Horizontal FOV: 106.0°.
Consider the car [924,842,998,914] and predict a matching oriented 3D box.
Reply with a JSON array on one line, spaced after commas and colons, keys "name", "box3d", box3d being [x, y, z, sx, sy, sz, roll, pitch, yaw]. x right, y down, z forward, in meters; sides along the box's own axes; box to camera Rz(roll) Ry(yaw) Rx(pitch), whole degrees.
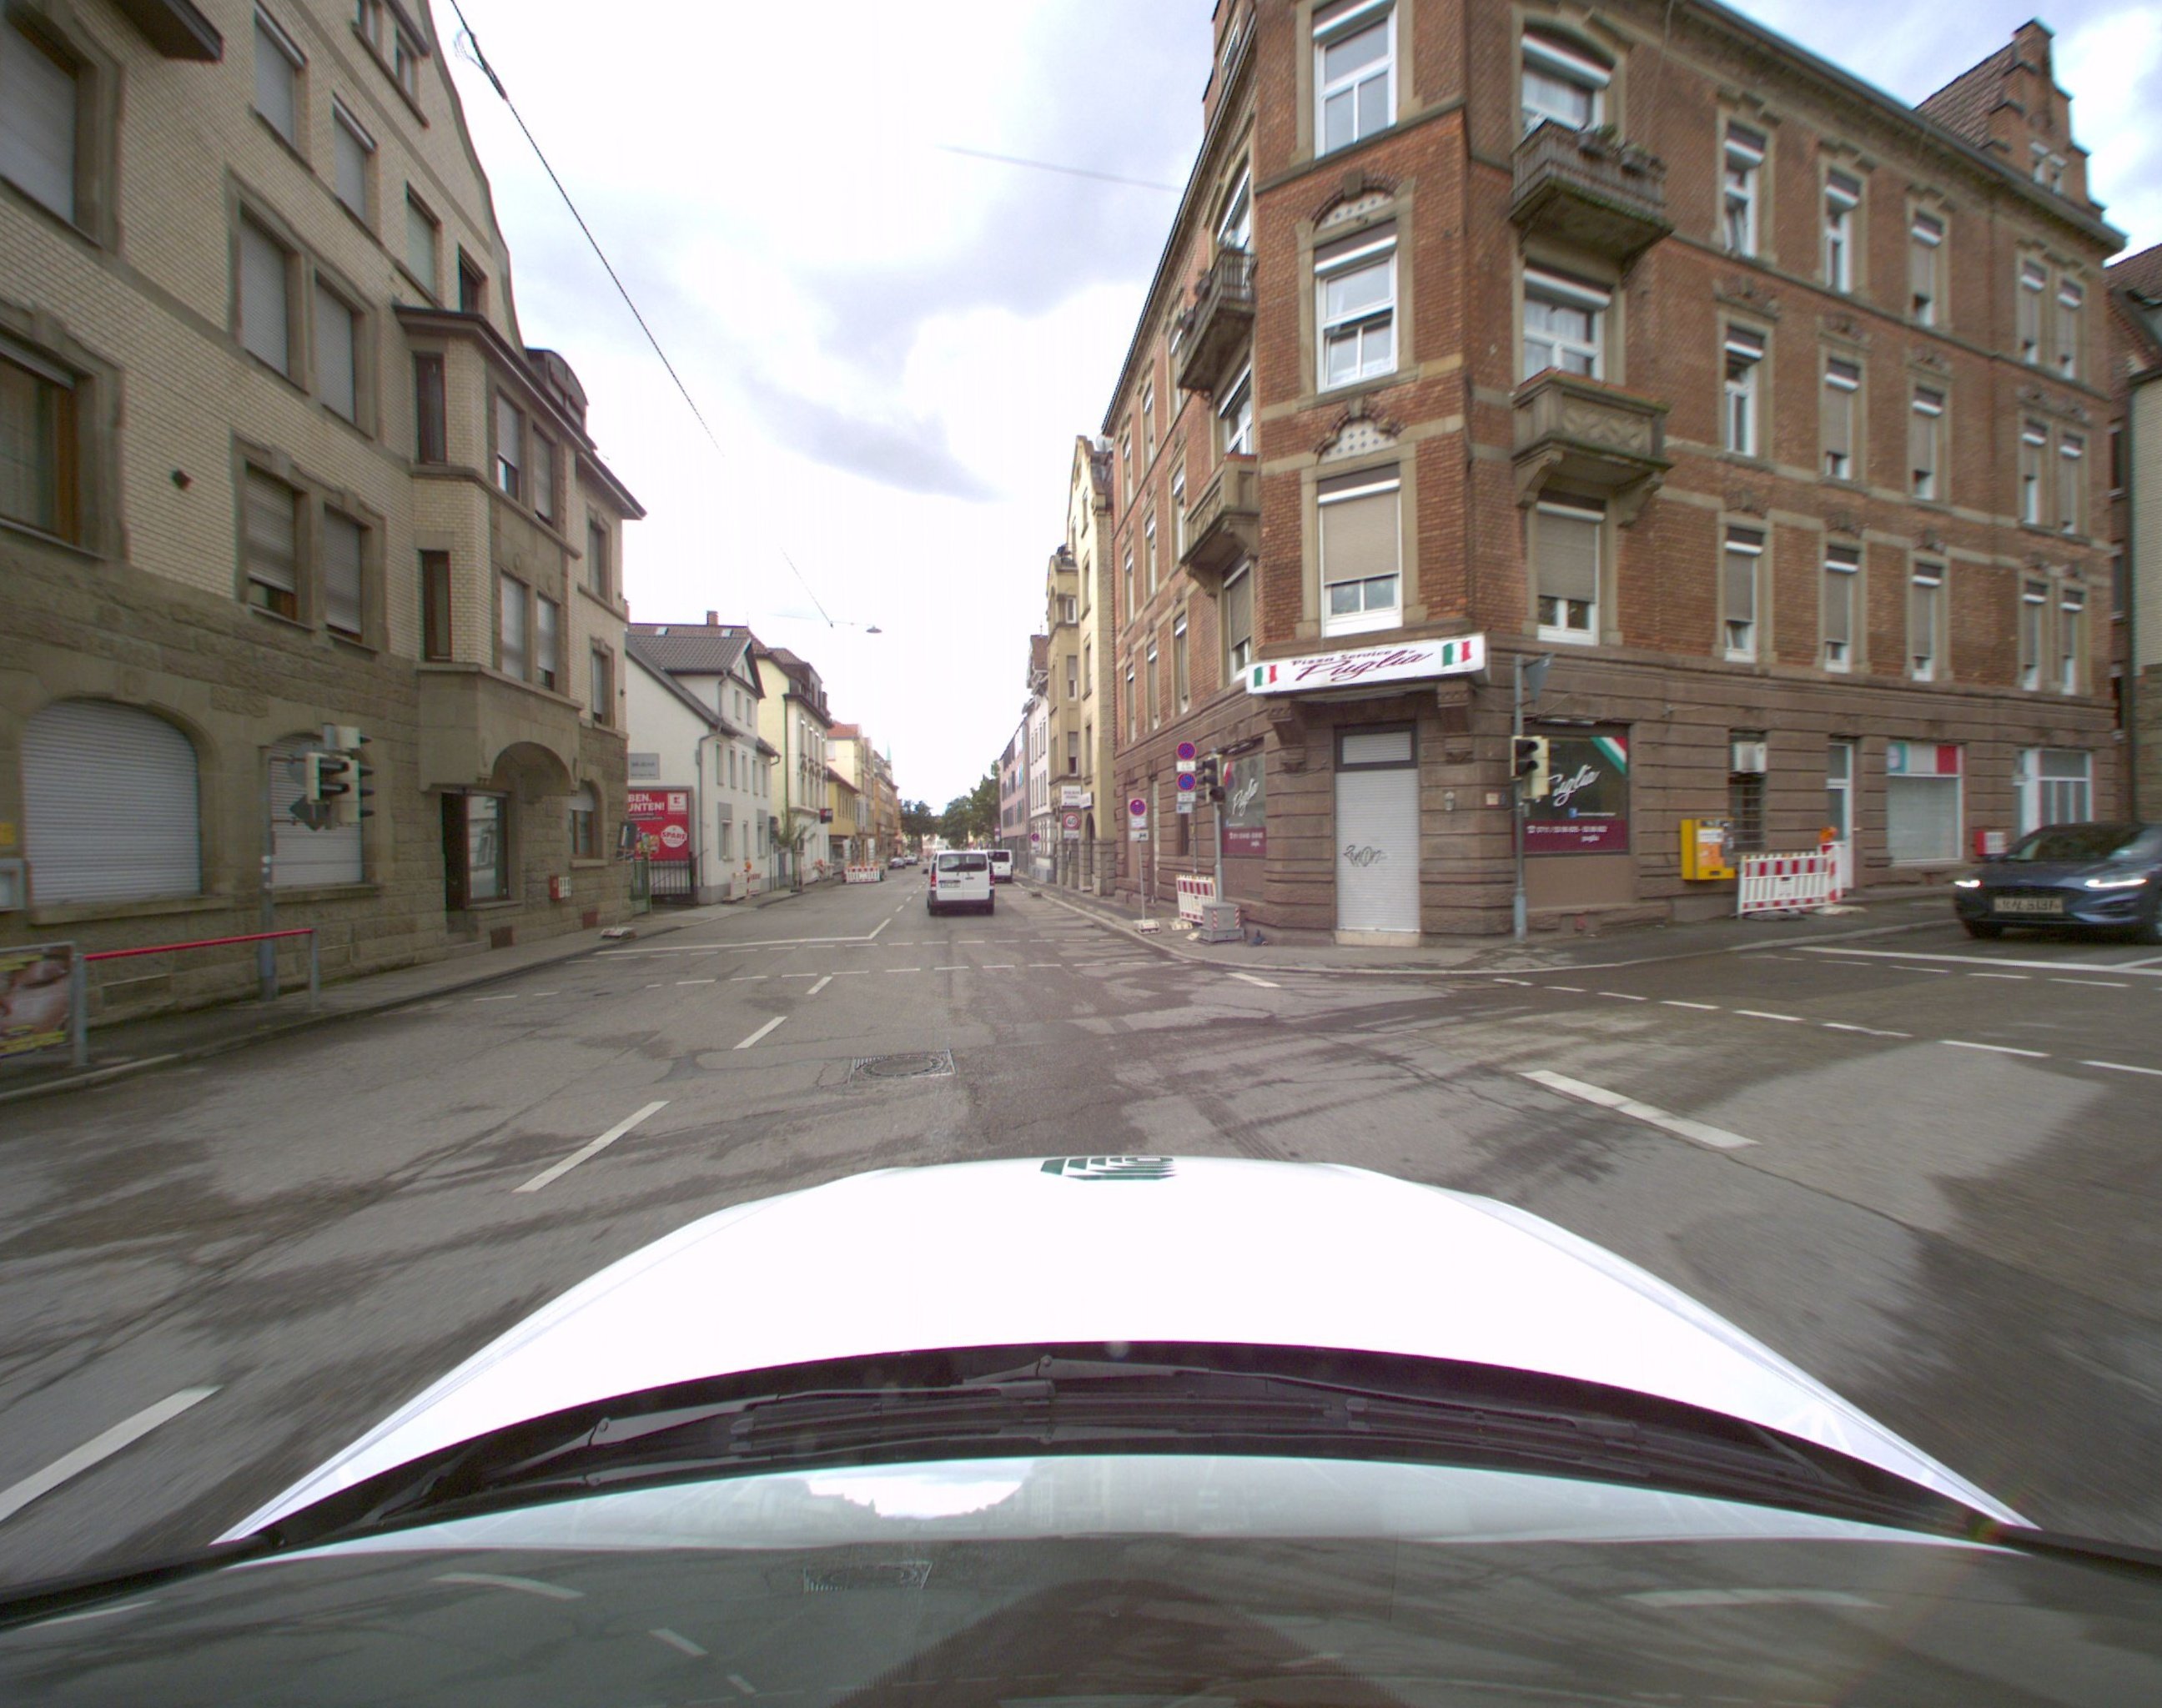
[{"name": "car", "box3d": [-3.766, 0.712, 24.902, 1.893, 1.929, 4.625, -2, -1, -12]}]

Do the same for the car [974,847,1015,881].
[{"name": "car", "box3d": [-5.472, 0.607, 50.983, 2.129, 2.005, 4.908, 1, 0, -10]}]

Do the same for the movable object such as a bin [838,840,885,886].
[{"name": "movable object such as a bin", "box3d": [-14.713, 0.570, 54.809, 2.538, 2.825, 4.523, -3, 0, -10]}]

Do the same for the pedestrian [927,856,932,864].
[{"name": "pedestrian", "box3d": [-29.190, 1.236, 156.917, 0.620, 1.539, 0.491, -2, -1, 7]}]

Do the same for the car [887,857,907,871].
[{"name": "car", "box3d": [-21.388, 1.150, 94.612, 1.994, 1.442, 3.986, -2, 0, -10]}]

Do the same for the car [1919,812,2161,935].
[{"name": "car", "box3d": [14.743, 0.209, 11.826, 4.286, 1.515, 1.986, -2, -1, -20]}]

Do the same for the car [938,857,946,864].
[{"name": "car", "box3d": [-34.068, 1.599, 200.129, 1.753, 1.673, 3.657, -1, -2, -8]}]

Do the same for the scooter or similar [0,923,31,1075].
[{"name": "scooter or similar", "box3d": [-9.215, 1.208, 6.344, 0.376, 1.242, 1.230, -1, 0, 10]}]

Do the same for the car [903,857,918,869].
[{"name": "car", "box3d": [-24.867, 1.275, 119.110, 1.994, 1.741, 3.985, 1, 0, -11]}]
